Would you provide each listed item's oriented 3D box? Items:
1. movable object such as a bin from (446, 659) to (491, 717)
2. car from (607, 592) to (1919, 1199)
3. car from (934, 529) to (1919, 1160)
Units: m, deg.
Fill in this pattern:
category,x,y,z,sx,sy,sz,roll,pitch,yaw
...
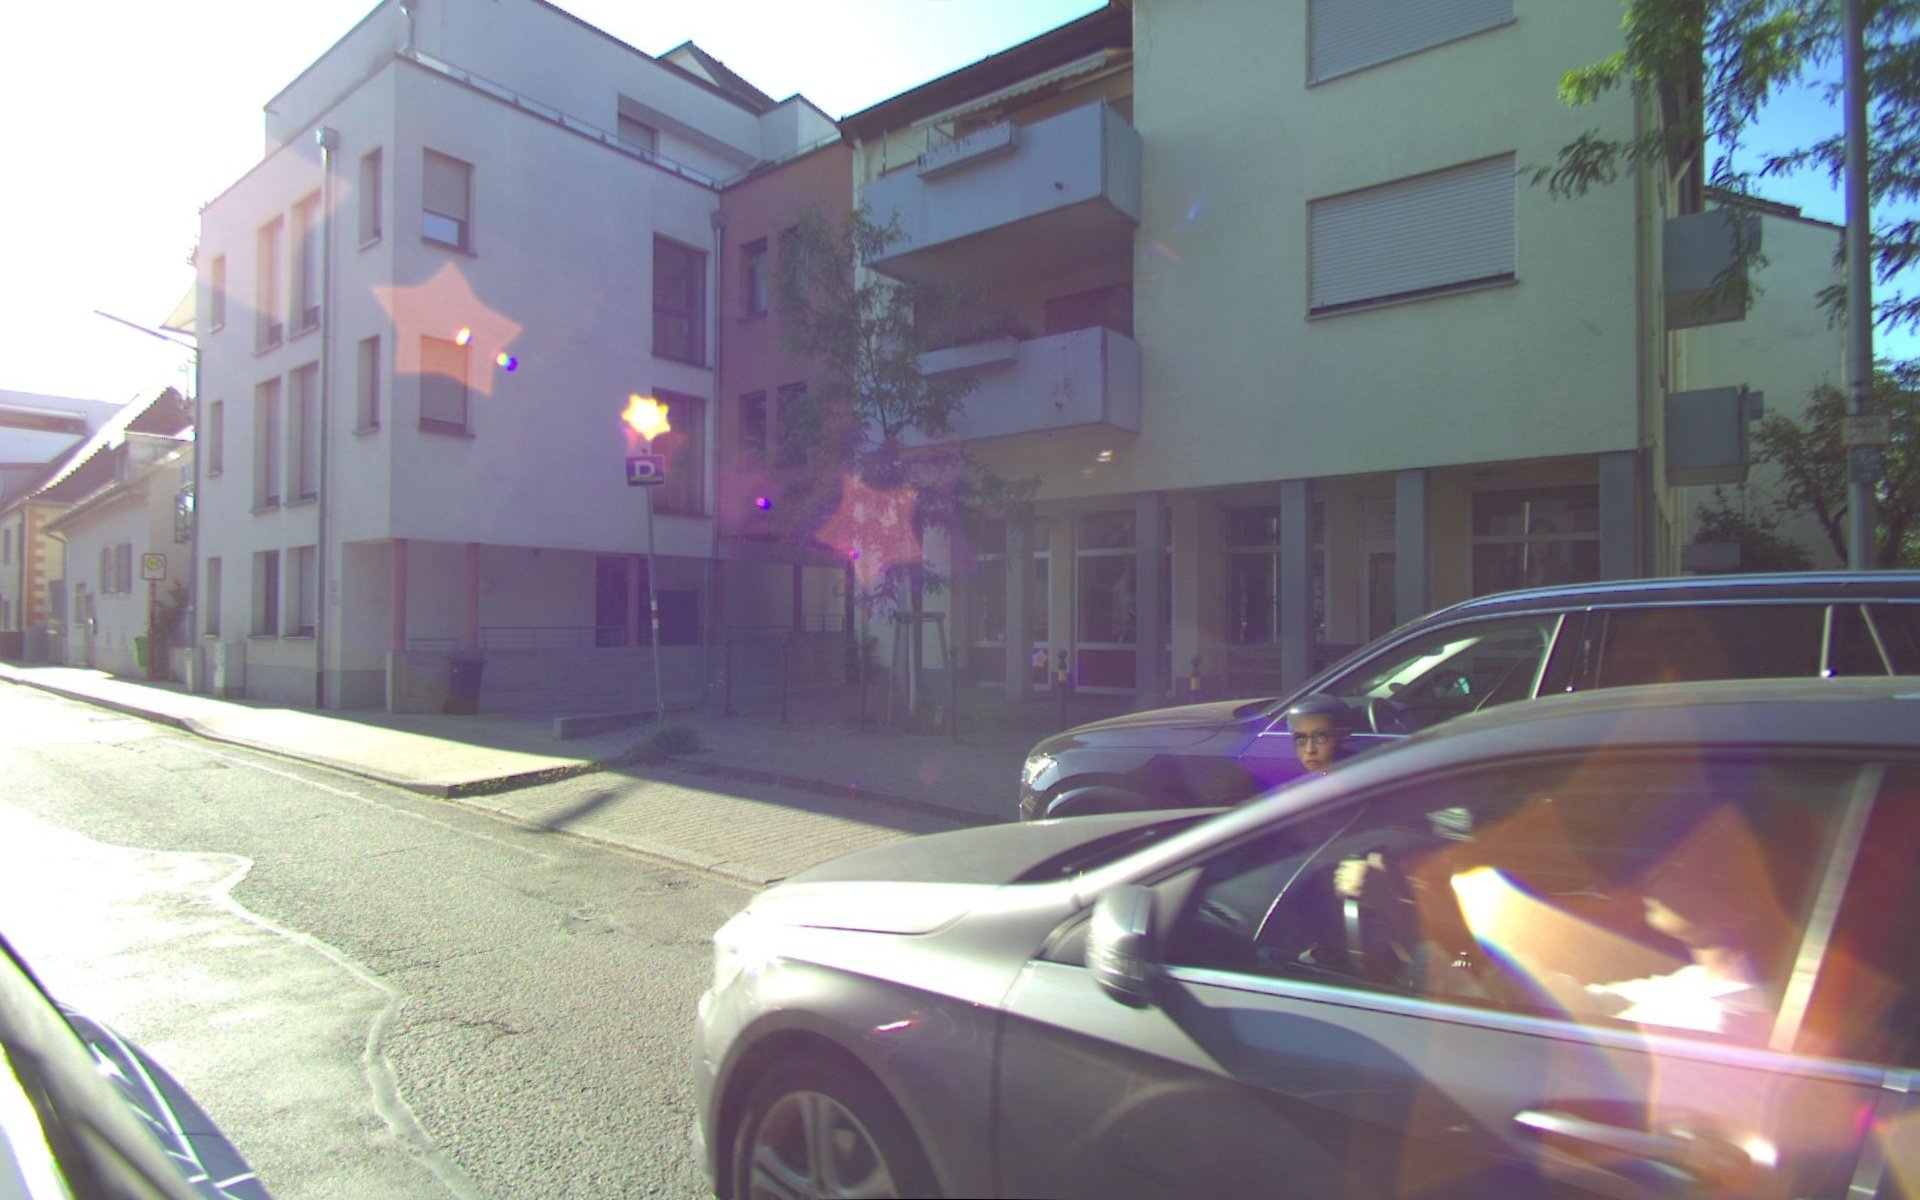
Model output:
category,x,y,z,sx,sy,sz,roll,pitch,yaw
movable object such as a bin,-7.702,1.371,15.872,0.433,0.882,0.485,-1,-2,37
car,1.365,0.751,1.589,3.995,1.478,1.789,-1,-2,39
car,2.432,0.658,4.162,5.098,1.718,1.912,-1,1,41
